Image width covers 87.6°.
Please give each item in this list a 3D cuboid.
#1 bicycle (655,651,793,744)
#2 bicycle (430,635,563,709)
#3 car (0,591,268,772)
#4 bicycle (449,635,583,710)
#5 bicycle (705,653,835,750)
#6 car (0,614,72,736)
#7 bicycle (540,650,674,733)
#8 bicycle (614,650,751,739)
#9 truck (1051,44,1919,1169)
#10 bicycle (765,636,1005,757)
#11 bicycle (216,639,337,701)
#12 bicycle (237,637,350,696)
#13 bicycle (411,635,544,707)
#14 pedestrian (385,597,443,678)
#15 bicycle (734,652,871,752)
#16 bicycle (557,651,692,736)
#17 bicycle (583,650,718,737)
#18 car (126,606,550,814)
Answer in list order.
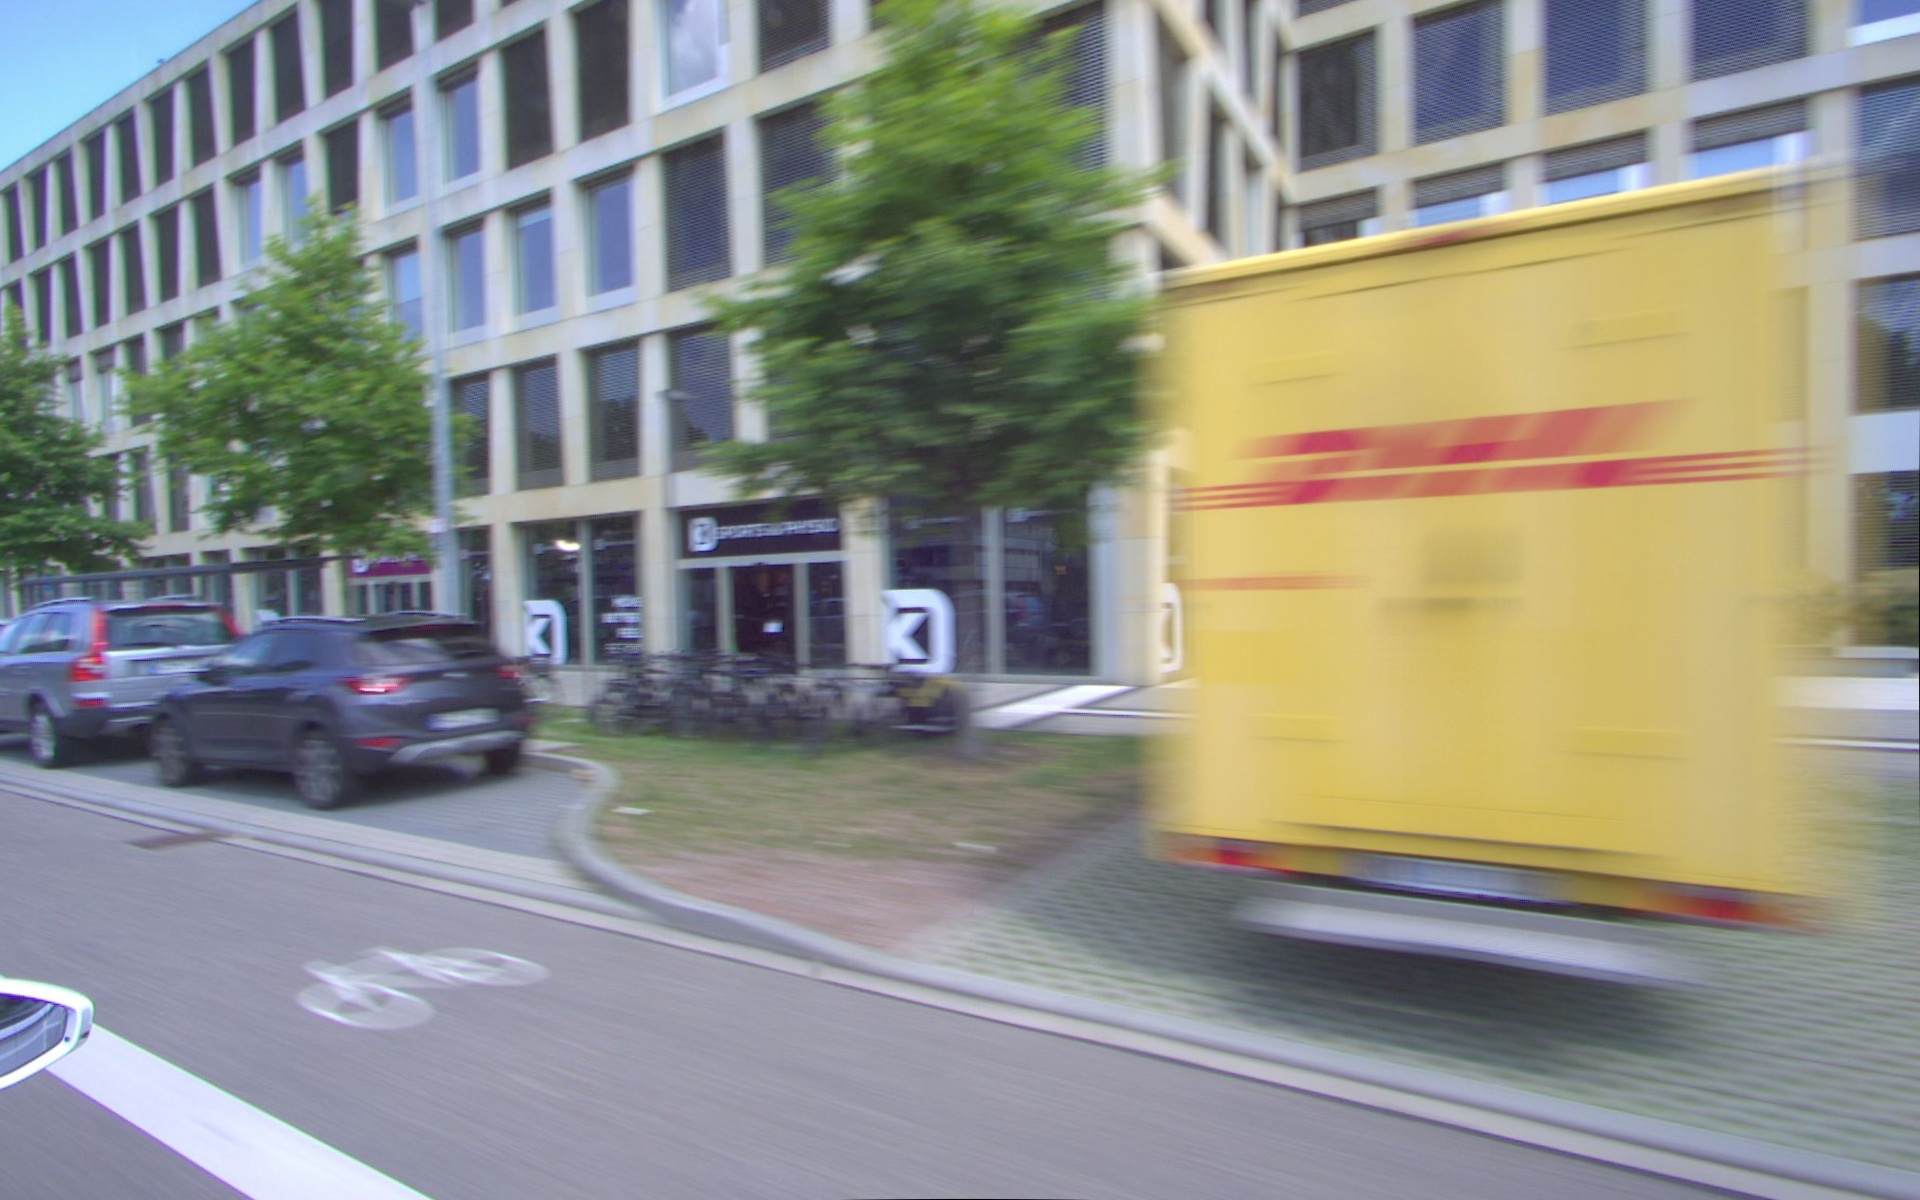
[{"bbox_3d":[-2.799,1.131,12.071,0.505,0.952,1.839,0,0,30],"label":"bicycle"},{"bbox_3d":[-6.703,1.032,14.583,0.433,1.006,1.840,0,-3,29],"label":"bicycle"},{"bbox_3d":[-10.472,0.835,11.990,4.769,1.791,1.765,-1,1,31],"label":"car"},{"bbox_3d":[-6.304,1.026,14.338,0.433,1.006,1.840,0,-3,29],"label":"bicycle"},{"bbox_3d":[-2.171,1.140,11.682,0.376,0.969,1.839,0,0,30],"label":"bicycle"},{"bbox_3d":[-14.849,1.060,14.640,3.803,1.641,1.717,-1,1,31],"label":"car"},{"bbox_3d":[-4.642,1.179,13.304,0.433,0.952,1.839,0,0,29],"label":"bicycle"},{"bbox_3d":[-3.431,1.145,12.550,0.505,0.952,1.839,0,0,30],"label":"bicycle"},{"bbox_3d":[3.048,-0.010,6.164,2.417,2.906,6.797,-1,1,29],"label":"truck"},{"bbox_3d":[-0.737,0.991,11.132,0.906,1.139,2.852,0,-1,41],"label":"bicycle"},{"bbox_3d":[-12.569,1.264,18.470,0.433,1.070,1.839,0,-1,29],"label":"bicycle"},{"bbox_3d":[-12.919,1.262,19.469,0.433,1.070,1.839,0,-1,29],"label":"bicycle"},{"bbox_3d":[-7.098,1.038,14.825,0.433,1.006,1.840,0,-3,29],"label":"bicycle"},{"bbox_3d":[-10.999,0.736,20.175,0.892,1.572,0.636,0,2,31],"label":"pedestrian"},{"bbox_3d":[-1.756,1.116,11.449,0.512,0.969,1.839,0,0,30],"label":"bicycle"},{"bbox_3d":[-4.304,1.176,13.004,0.433,0.952,1.839,0,0,29],"label":"bicycle"},{"bbox_3d":[-3.894,1.153,12.755,0.433,0.952,1.839,0,0,29],"label":"bicycle"},{"bbox_3d":[-5.837,0.852,9.300,4.008,1.525,1.688,-1,1,31],"label":"car"}]
